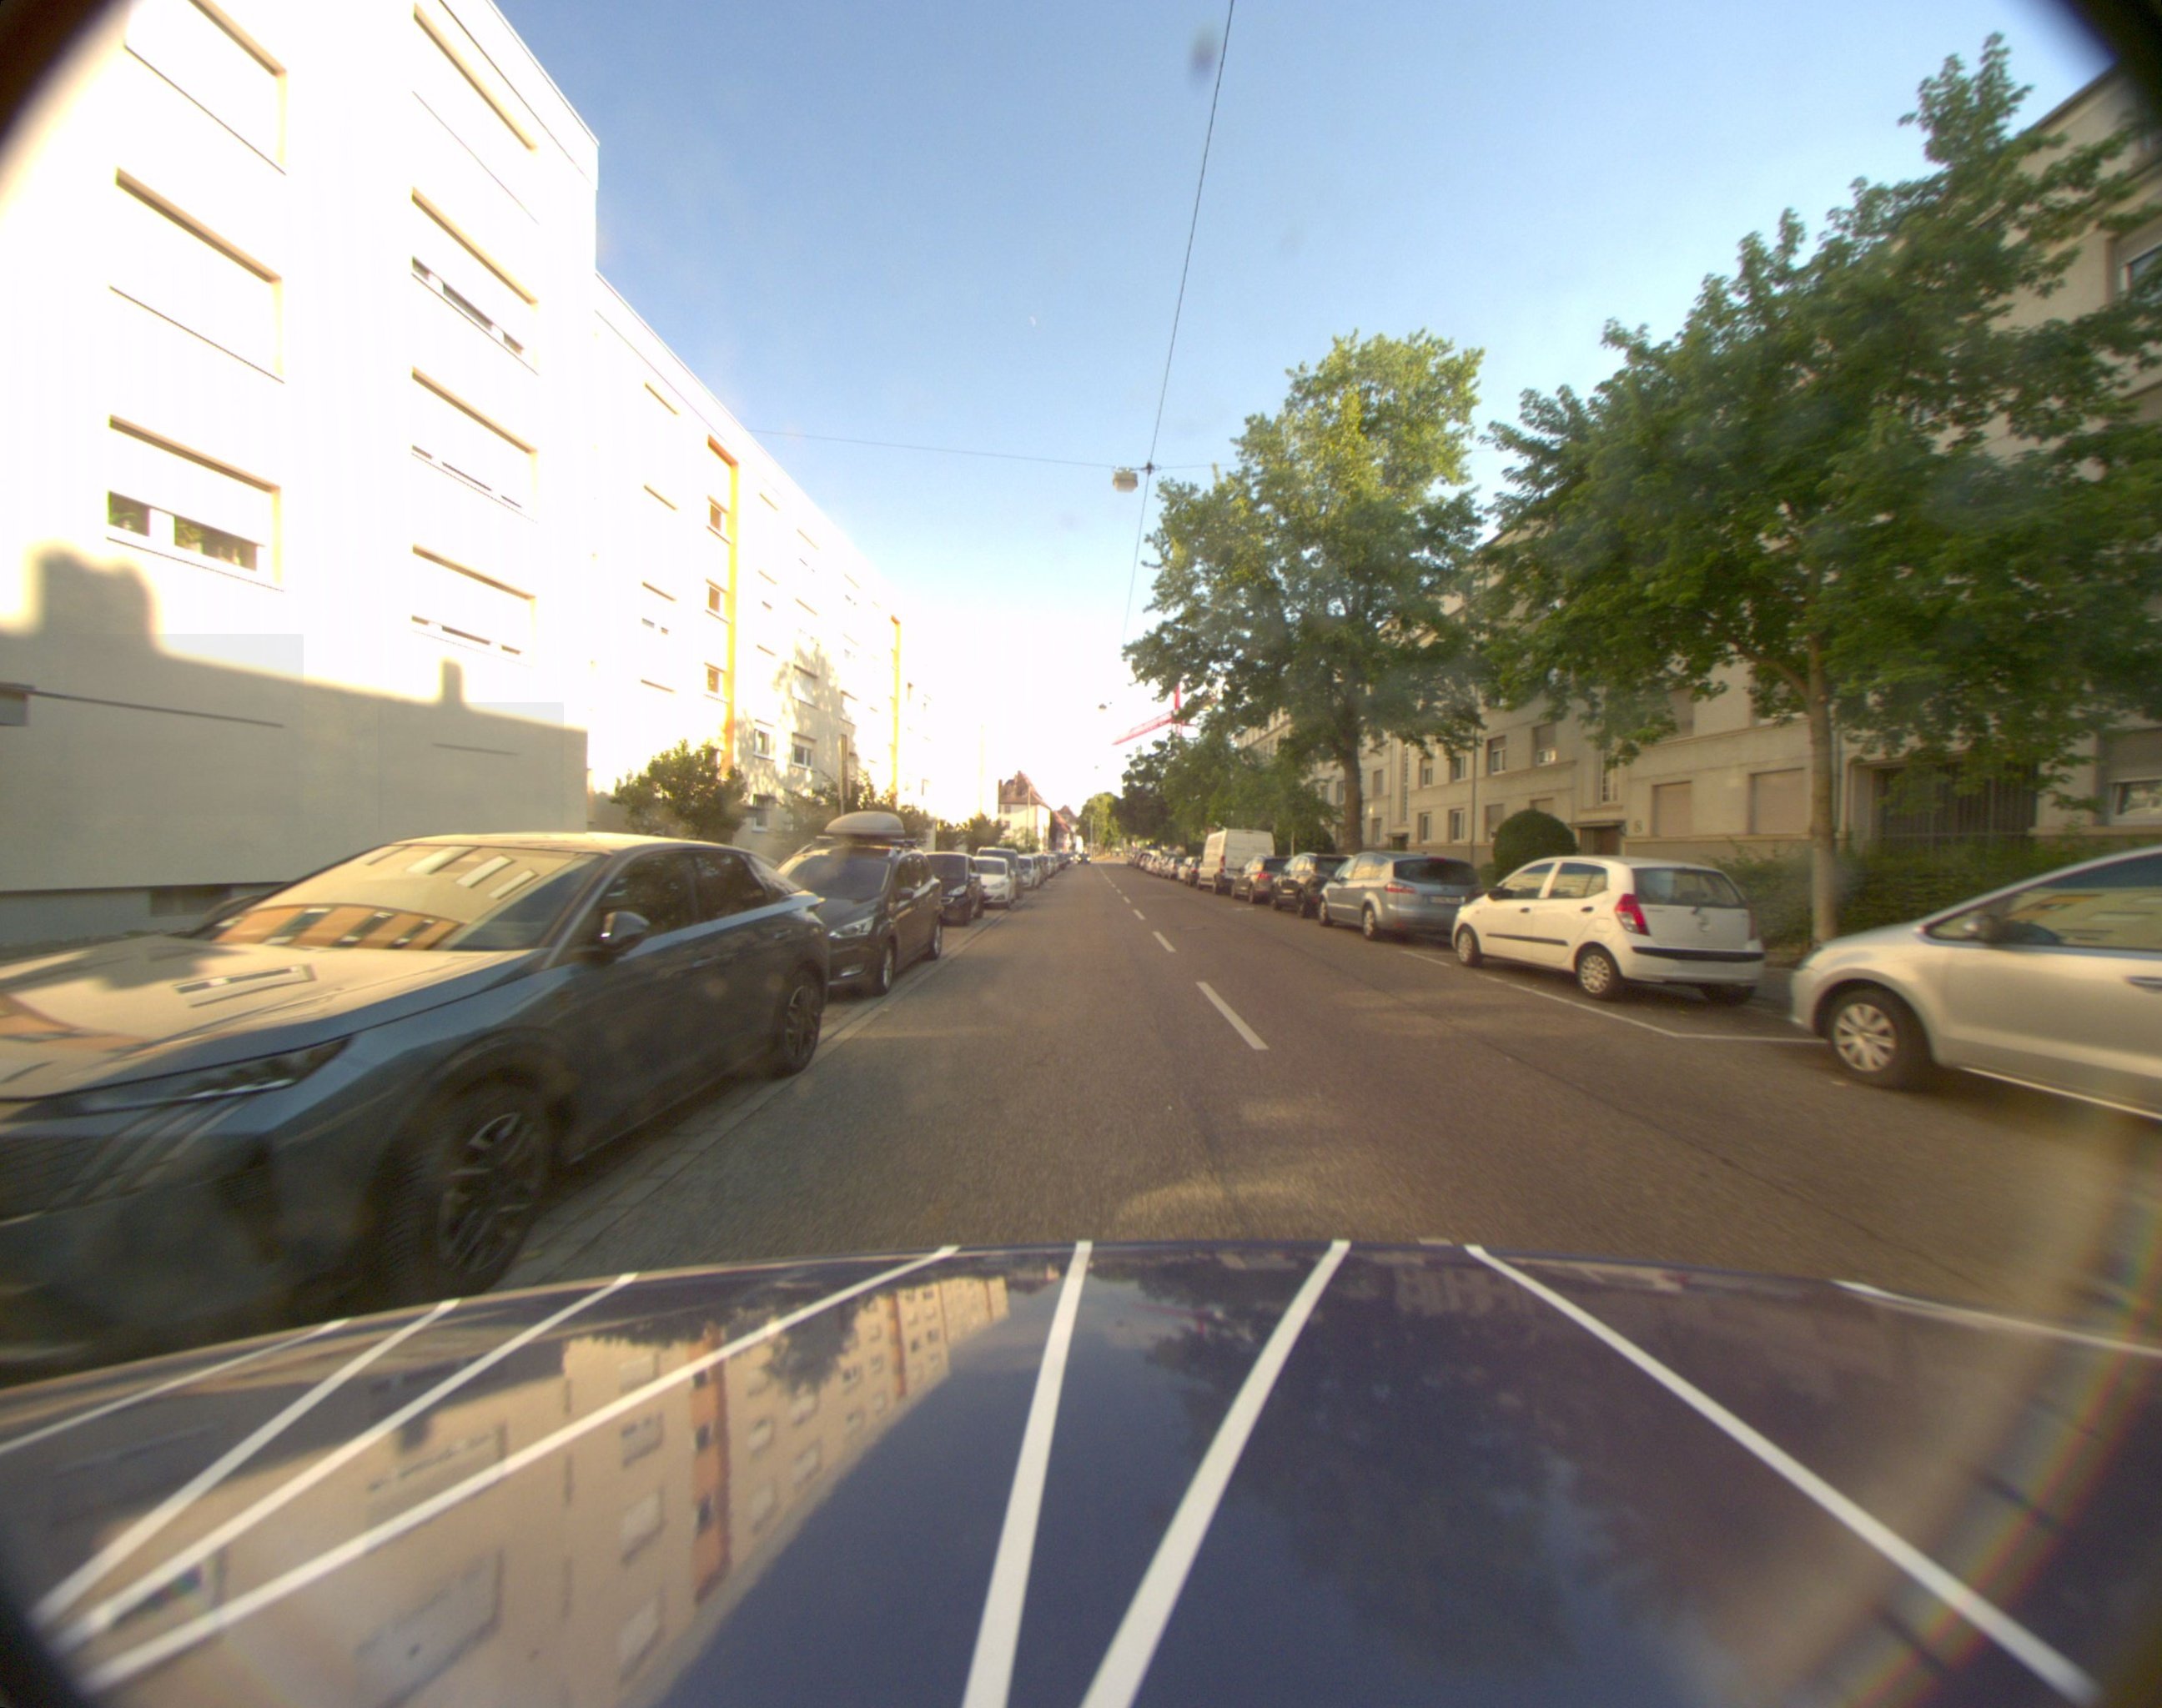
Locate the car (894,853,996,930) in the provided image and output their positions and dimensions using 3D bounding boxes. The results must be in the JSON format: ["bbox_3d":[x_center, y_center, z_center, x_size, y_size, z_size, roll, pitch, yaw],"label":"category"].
[{"bbox_3d":[-3.011,0.764,17.581,1.610,1.486,4.041,0,1,0],"label":"car"}]

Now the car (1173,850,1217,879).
[{"bbox_3d":[6.490,0.558,43.438,1.712,1.565,3.259,0,1,-6],"label":"car"}]

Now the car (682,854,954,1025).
[{"bbox_3d":[-2.942,0.840,9.623,1.902,1.641,4.342,1,0,0],"label":"car"}]

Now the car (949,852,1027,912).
[{"bbox_3d":[-2.686,0.756,22.932,1.683,1.407,4.722,4,1,0],"label":"car"}]

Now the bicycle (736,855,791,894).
[{"bbox_3d":[-9.443,0.599,22.696,0.601,1.075,2.393,1,-1,1],"label":"bicycle"}]

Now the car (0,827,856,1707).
[{"bbox_3d":[-2.848,0.771,3.787,1.932,1.649,4.676,4,1,0],"label":"car"}]

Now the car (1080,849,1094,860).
[{"bbox_3d":[0.832,0.077,101.812,1.775,1.492,3.674,1,0,1],"label":"car"}]

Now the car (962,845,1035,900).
[{"bbox_3d":[-2.906,0.671,27.852,2.029,1.739,4.767,-3,-1,0],"label":"car"}]

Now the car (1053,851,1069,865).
[{"bbox_3d":[-2.639,0.484,101.041,1.891,1.552,4.943,5,1,-3],"label":"car"}]

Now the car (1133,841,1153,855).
[{"bbox_3d":[7.030,-0.681,86.496,1.878,1.543,3.998,-1,1,-1],"label":"car"}]

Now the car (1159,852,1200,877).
[{"bbox_3d":[6.204,0.636,48.288,1.878,1.348,4.651,-3,1,-1],"label":"car"}]

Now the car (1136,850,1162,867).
[{"bbox_3d":[6.266,0.413,70.440,1.878,1.426,4.802,0,1,-1],"label":"car"}]

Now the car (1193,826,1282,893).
[{"bbox_3d":[6.234,0.134,31.113,2.364,2.432,6.163,-2,1,1],"label":"car"}]

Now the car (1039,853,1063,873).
[{"bbox_3d":[-2.368,0.660,60.712,1.776,1.445,3.999,0,1,0],"label":"car"}]

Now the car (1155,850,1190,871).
[{"bbox_3d":[6.474,0.458,54.177,1.878,1.348,3.998,-1,1,-1],"label":"car"}]

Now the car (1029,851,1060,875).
[{"bbox_3d":[-2.357,0.582,49.711,1.878,1.434,3.998,0,1,-1],"label":"car"}]

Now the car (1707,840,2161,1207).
[{"bbox_3d":[5.919,0.794,3.515,1.921,1.668,4.973,1,1,0],"label":"car"}]

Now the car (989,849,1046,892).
[{"bbox_3d":[-2.643,0.637,32.620,1.841,1.493,4.171,5,2,2],"label":"car"}]

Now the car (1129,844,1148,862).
[{"bbox_3d":[7.182,-0.127,94.898,1.846,1.885,4.486,-10,1,2],"label":"car"}]

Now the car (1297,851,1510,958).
[{"bbox_3d":[5.887,0.805,14.724,1.875,1.549,5.056,5,0,0],"label":"car"}]

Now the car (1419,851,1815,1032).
[{"bbox_3d":[6.047,0.834,9.338,1.875,1.549,4.100,4,1,0],"label":"car"}]

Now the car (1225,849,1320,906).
[{"bbox_3d":[6.183,0.692,25.035,1.962,1.549,4.345,3,1,0],"label":"car"}]

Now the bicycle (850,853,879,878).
[{"bbox_3d":[-10.687,0.556,37.565,0.494,1.107,2.394,5,2,4],"label":"bicycle"}]

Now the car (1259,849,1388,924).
[{"bbox_3d":[6.133,0.742,19.826,1.875,1.549,4.364,4,1,0],"label":"car"}]

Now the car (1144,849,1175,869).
[{"bbox_3d":[6.467,0.374,63.151,2.009,1.543,4.470,-1,1,-1],"label":"car"}]

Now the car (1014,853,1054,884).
[{"bbox_3d":[-2.631,0.770,43.517,1.967,1.596,4.278,1,1,1],"label":"car"}]

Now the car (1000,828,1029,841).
[{"bbox_3d":[-9.553,-2.765,109.725,3.996,1.784,2.000,-1,2,1],"label":"car"}]

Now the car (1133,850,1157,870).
[{"bbox_3d":[6.627,0.590,79.260,1.878,1.749,4.687,-4,1,-2],"label":"car"}]

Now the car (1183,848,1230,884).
[{"bbox_3d":[6.122,0.563,37.470,1.711,1.565,3.818,-1,2,1],"label":"car"}]

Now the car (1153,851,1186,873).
[{"bbox_3d":[6.596,0.579,56.979,1.878,1.543,3.998,1,1,-2],"label":"car"}]
